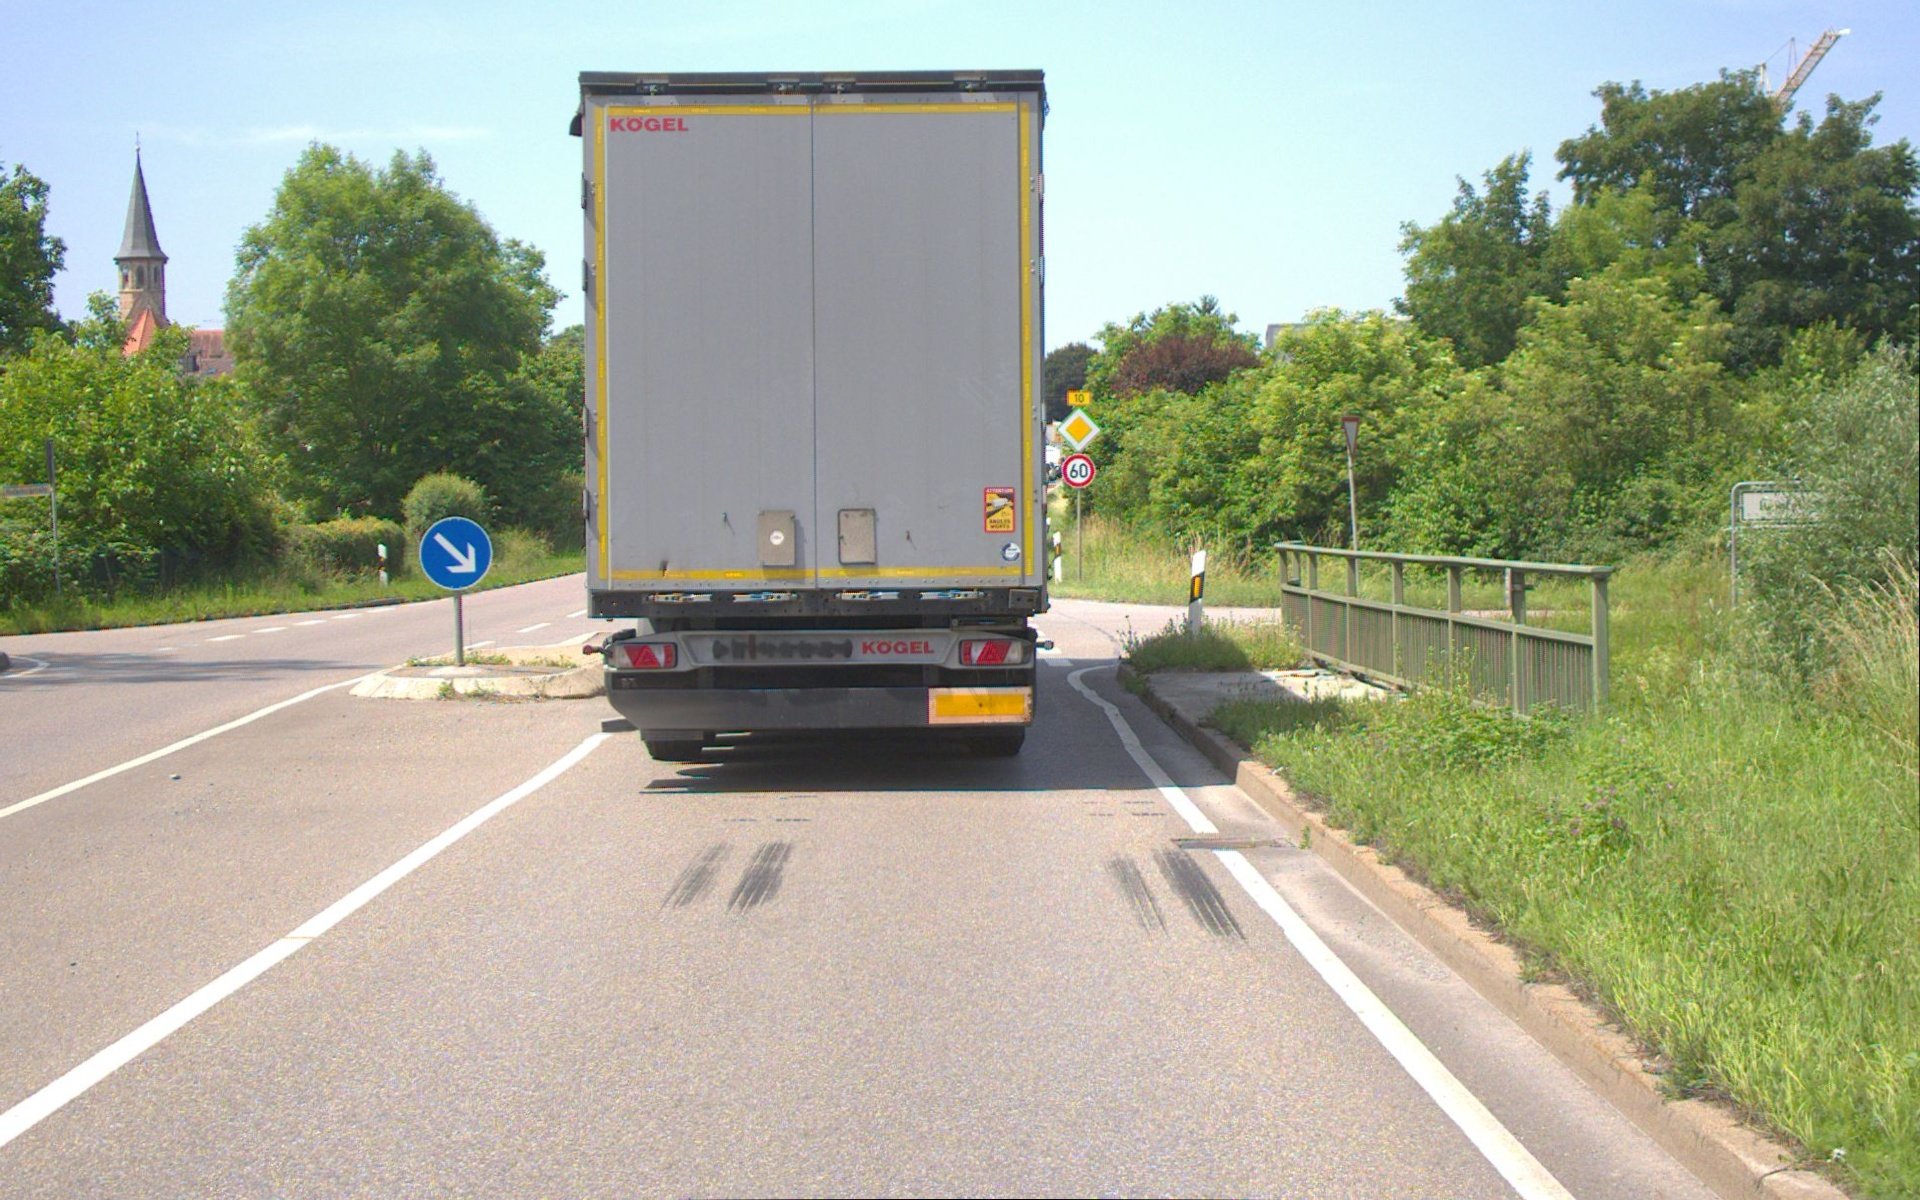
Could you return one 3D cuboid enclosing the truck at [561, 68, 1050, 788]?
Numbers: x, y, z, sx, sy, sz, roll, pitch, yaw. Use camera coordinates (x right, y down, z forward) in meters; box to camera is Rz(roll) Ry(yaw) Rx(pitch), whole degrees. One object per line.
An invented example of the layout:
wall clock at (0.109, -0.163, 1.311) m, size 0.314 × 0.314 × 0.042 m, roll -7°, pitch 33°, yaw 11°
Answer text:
truck at (-1.000, -1.029, 23.154) m, size 2.647 × 3.903 × 8.826 m, roll 0°, pitch 1°, yaw -2°
